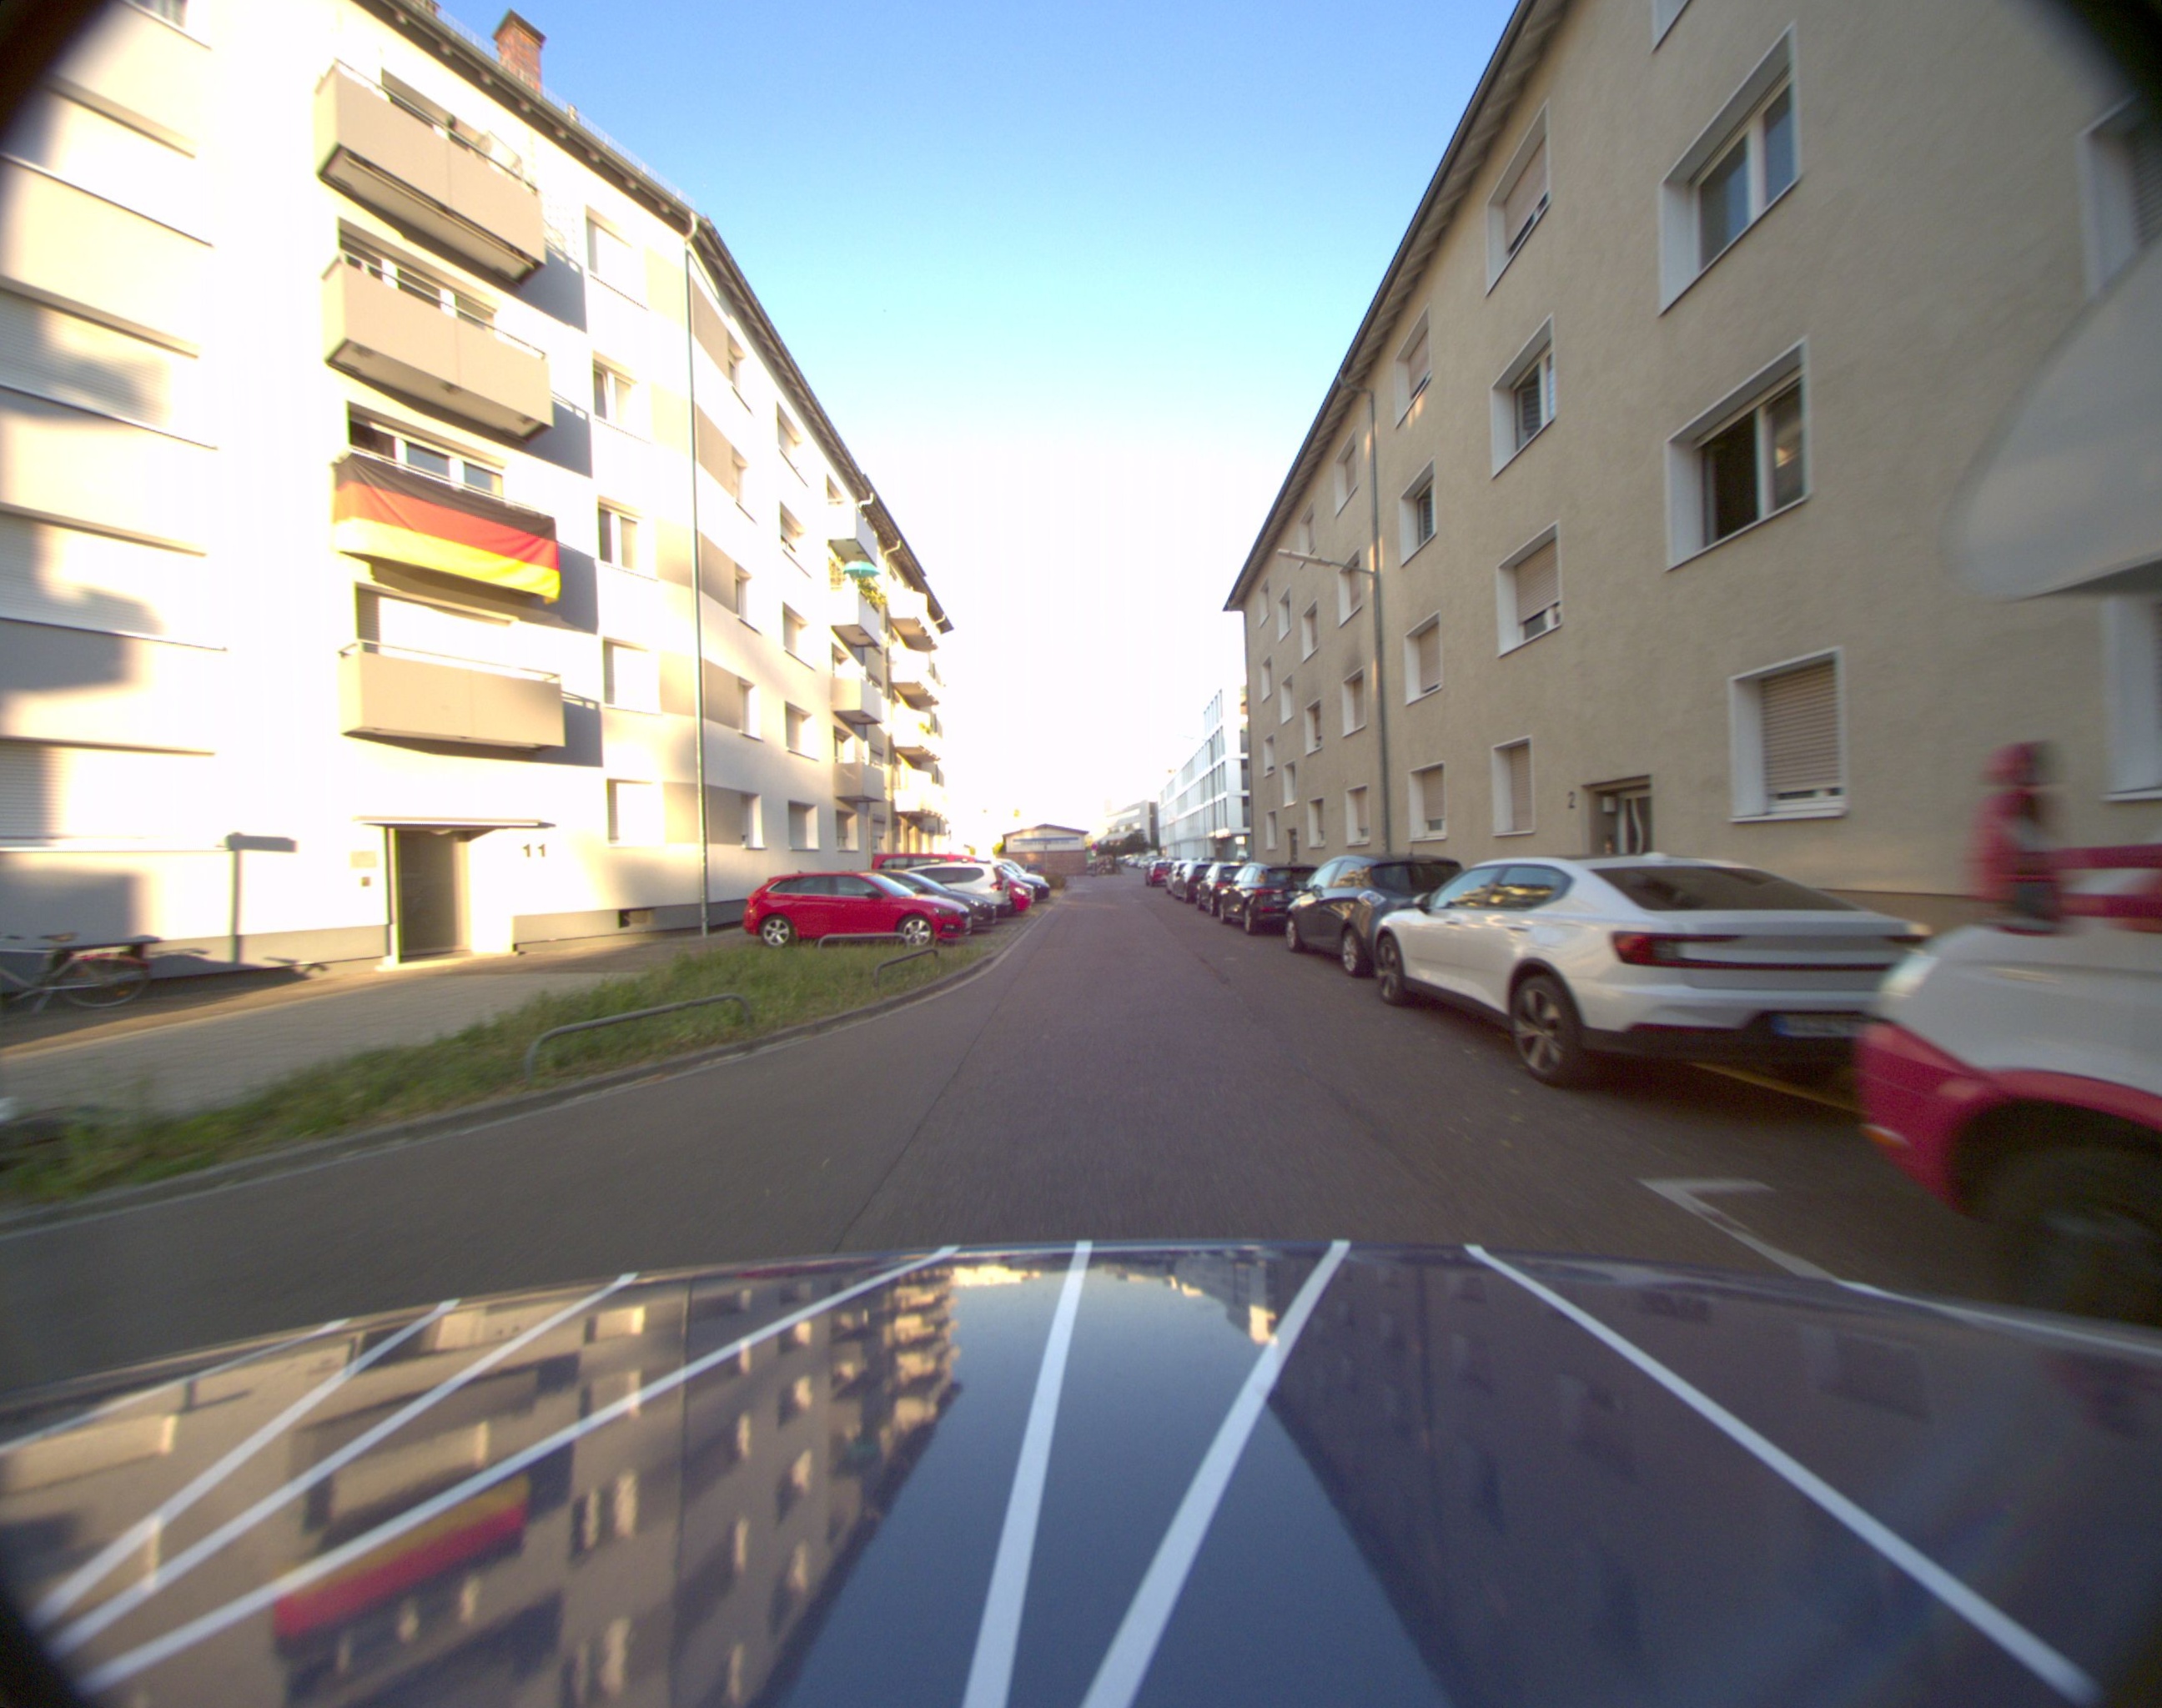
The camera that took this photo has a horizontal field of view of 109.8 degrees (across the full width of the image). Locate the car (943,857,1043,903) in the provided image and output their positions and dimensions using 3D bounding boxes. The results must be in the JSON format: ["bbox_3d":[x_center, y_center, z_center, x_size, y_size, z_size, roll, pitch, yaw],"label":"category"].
[{"bbox_3d":[-3.756,1.113,33.018,3.996,1.827,2.000,-2,0,2],"label":"car"}]

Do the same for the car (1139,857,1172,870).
[{"bbox_3d":[9.315,1.206,95.373,3.996,1.477,2.001,-2,0,4],"label":"car"}]

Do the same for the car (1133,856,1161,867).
[{"bbox_3d":[9.572,1.127,110.167,3.996,1.477,2.001,-2,0,3],"label":"car"}]

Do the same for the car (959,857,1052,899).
[{"bbox_3d":[-3.434,1.073,35.100,3.996,1.783,2.000,-2,0,2],"label":"car"}]

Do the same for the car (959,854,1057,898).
[{"bbox_3d":[-3.543,1.050,37.369,4.427,1.956,2.001,-2,0,4],"label":"car"}]

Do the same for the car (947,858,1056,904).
[{"bbox_3d":[-3.146,1.058,30.598,3.995,1.674,2.001,-2,0,4],"label":"car"}]

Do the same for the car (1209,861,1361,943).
[{"bbox_3d":[4.124,0.909,16.183,1.999,1.435,4.432,-2,0,0],"label":"car"}]

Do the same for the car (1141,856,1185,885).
[{"bbox_3d":[4.618,0.919,43.468,1.999,1.481,4.432,-2,0,0],"label":"car"}]

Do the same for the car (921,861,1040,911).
[{"bbox_3d":[-3.628,1.152,28.040,3.996,1.674,2.000,-2,0,3],"label":"car"}]

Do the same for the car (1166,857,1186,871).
[{"bbox_3d":[10.678,1.075,85.313,1.998,1.510,4.001,-2,0,4],"label":"car"}]

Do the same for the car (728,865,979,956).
[{"bbox_3d":[-4.360,1.069,15.025,4.310,1.532,1.924,-2,0,2],"label":"car"}]

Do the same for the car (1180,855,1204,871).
[{"bbox_3d":[11.023,0.885,75.674,1.998,1.477,4.001,-2,0,4],"label":"car"}]

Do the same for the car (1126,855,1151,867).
[{"bbox_3d":[9.364,1.134,124.059,3.996,1.739,2.000,-2,0,2],"label":"car"}]

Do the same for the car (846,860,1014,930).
[{"bbox_3d":[-3.857,1.036,19.937,3.997,1.619,1.784,-2,0,-1],"label":"car"}]

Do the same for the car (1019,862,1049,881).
[{"bbox_3d":[-4.007,1.427,64.247,2.000,1.481,4.428,-2,0,-10],"label":"car"}]

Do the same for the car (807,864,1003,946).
[{"bbox_3d":[-3.914,1.117,17.499,3.997,1.652,2.000,-2,0,-1],"label":"car"}]

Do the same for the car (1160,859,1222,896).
[{"bbox_3d":[4.665,0.973,32.873,1.999,1.435,4.432,-2,0,0],"label":"car"}]

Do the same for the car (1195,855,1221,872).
[{"bbox_3d":[11.624,0.828,69.696,1.998,1.477,4.001,-2,0,4],"label":"car"}]

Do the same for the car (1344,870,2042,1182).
[{"bbox_3d":[3.899,0.907,6.259,1.911,1.468,4.910,1,0,2],"label":"car"}]

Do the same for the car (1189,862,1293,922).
[{"bbox_3d":[4.327,0.976,21.302,1.998,1.435,4.432,-2,0,1],"label":"car"}]

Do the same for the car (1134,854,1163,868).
[{"bbox_3d":[9.505,1.023,107.915,3.996,1.805,2.001,-2,0,3],"label":"car"}]

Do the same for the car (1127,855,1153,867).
[{"bbox_3d":[9.470,1.121,121.380,3.996,1.739,2.000,-2,0,2],"label":"car"}]

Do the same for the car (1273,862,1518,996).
[{"bbox_3d":[4.151,0.886,10.810,1.794,1.524,4.068,0,0,0],"label":"car"}]

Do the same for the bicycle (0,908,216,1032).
[{"bbox_3d":[-12.199,1.367,8.999,0.696,1.266,2.458,-2,0,31],"label":"bicycle"}]

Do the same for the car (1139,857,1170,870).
[{"bbox_3d":[9.449,1.203,97.990,3.996,1.477,2.001,-2,0,4],"label":"car"}]

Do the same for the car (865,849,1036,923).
[{"bbox_3d":[-3.819,0.927,22.846,4.684,1.988,2.000,-2,0,2],"label":"car"}]

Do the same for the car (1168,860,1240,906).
[{"bbox_3d":[4.322,0.982,27.378,1.792,1.435,4.432,-2,0,0],"label":"car"}]
